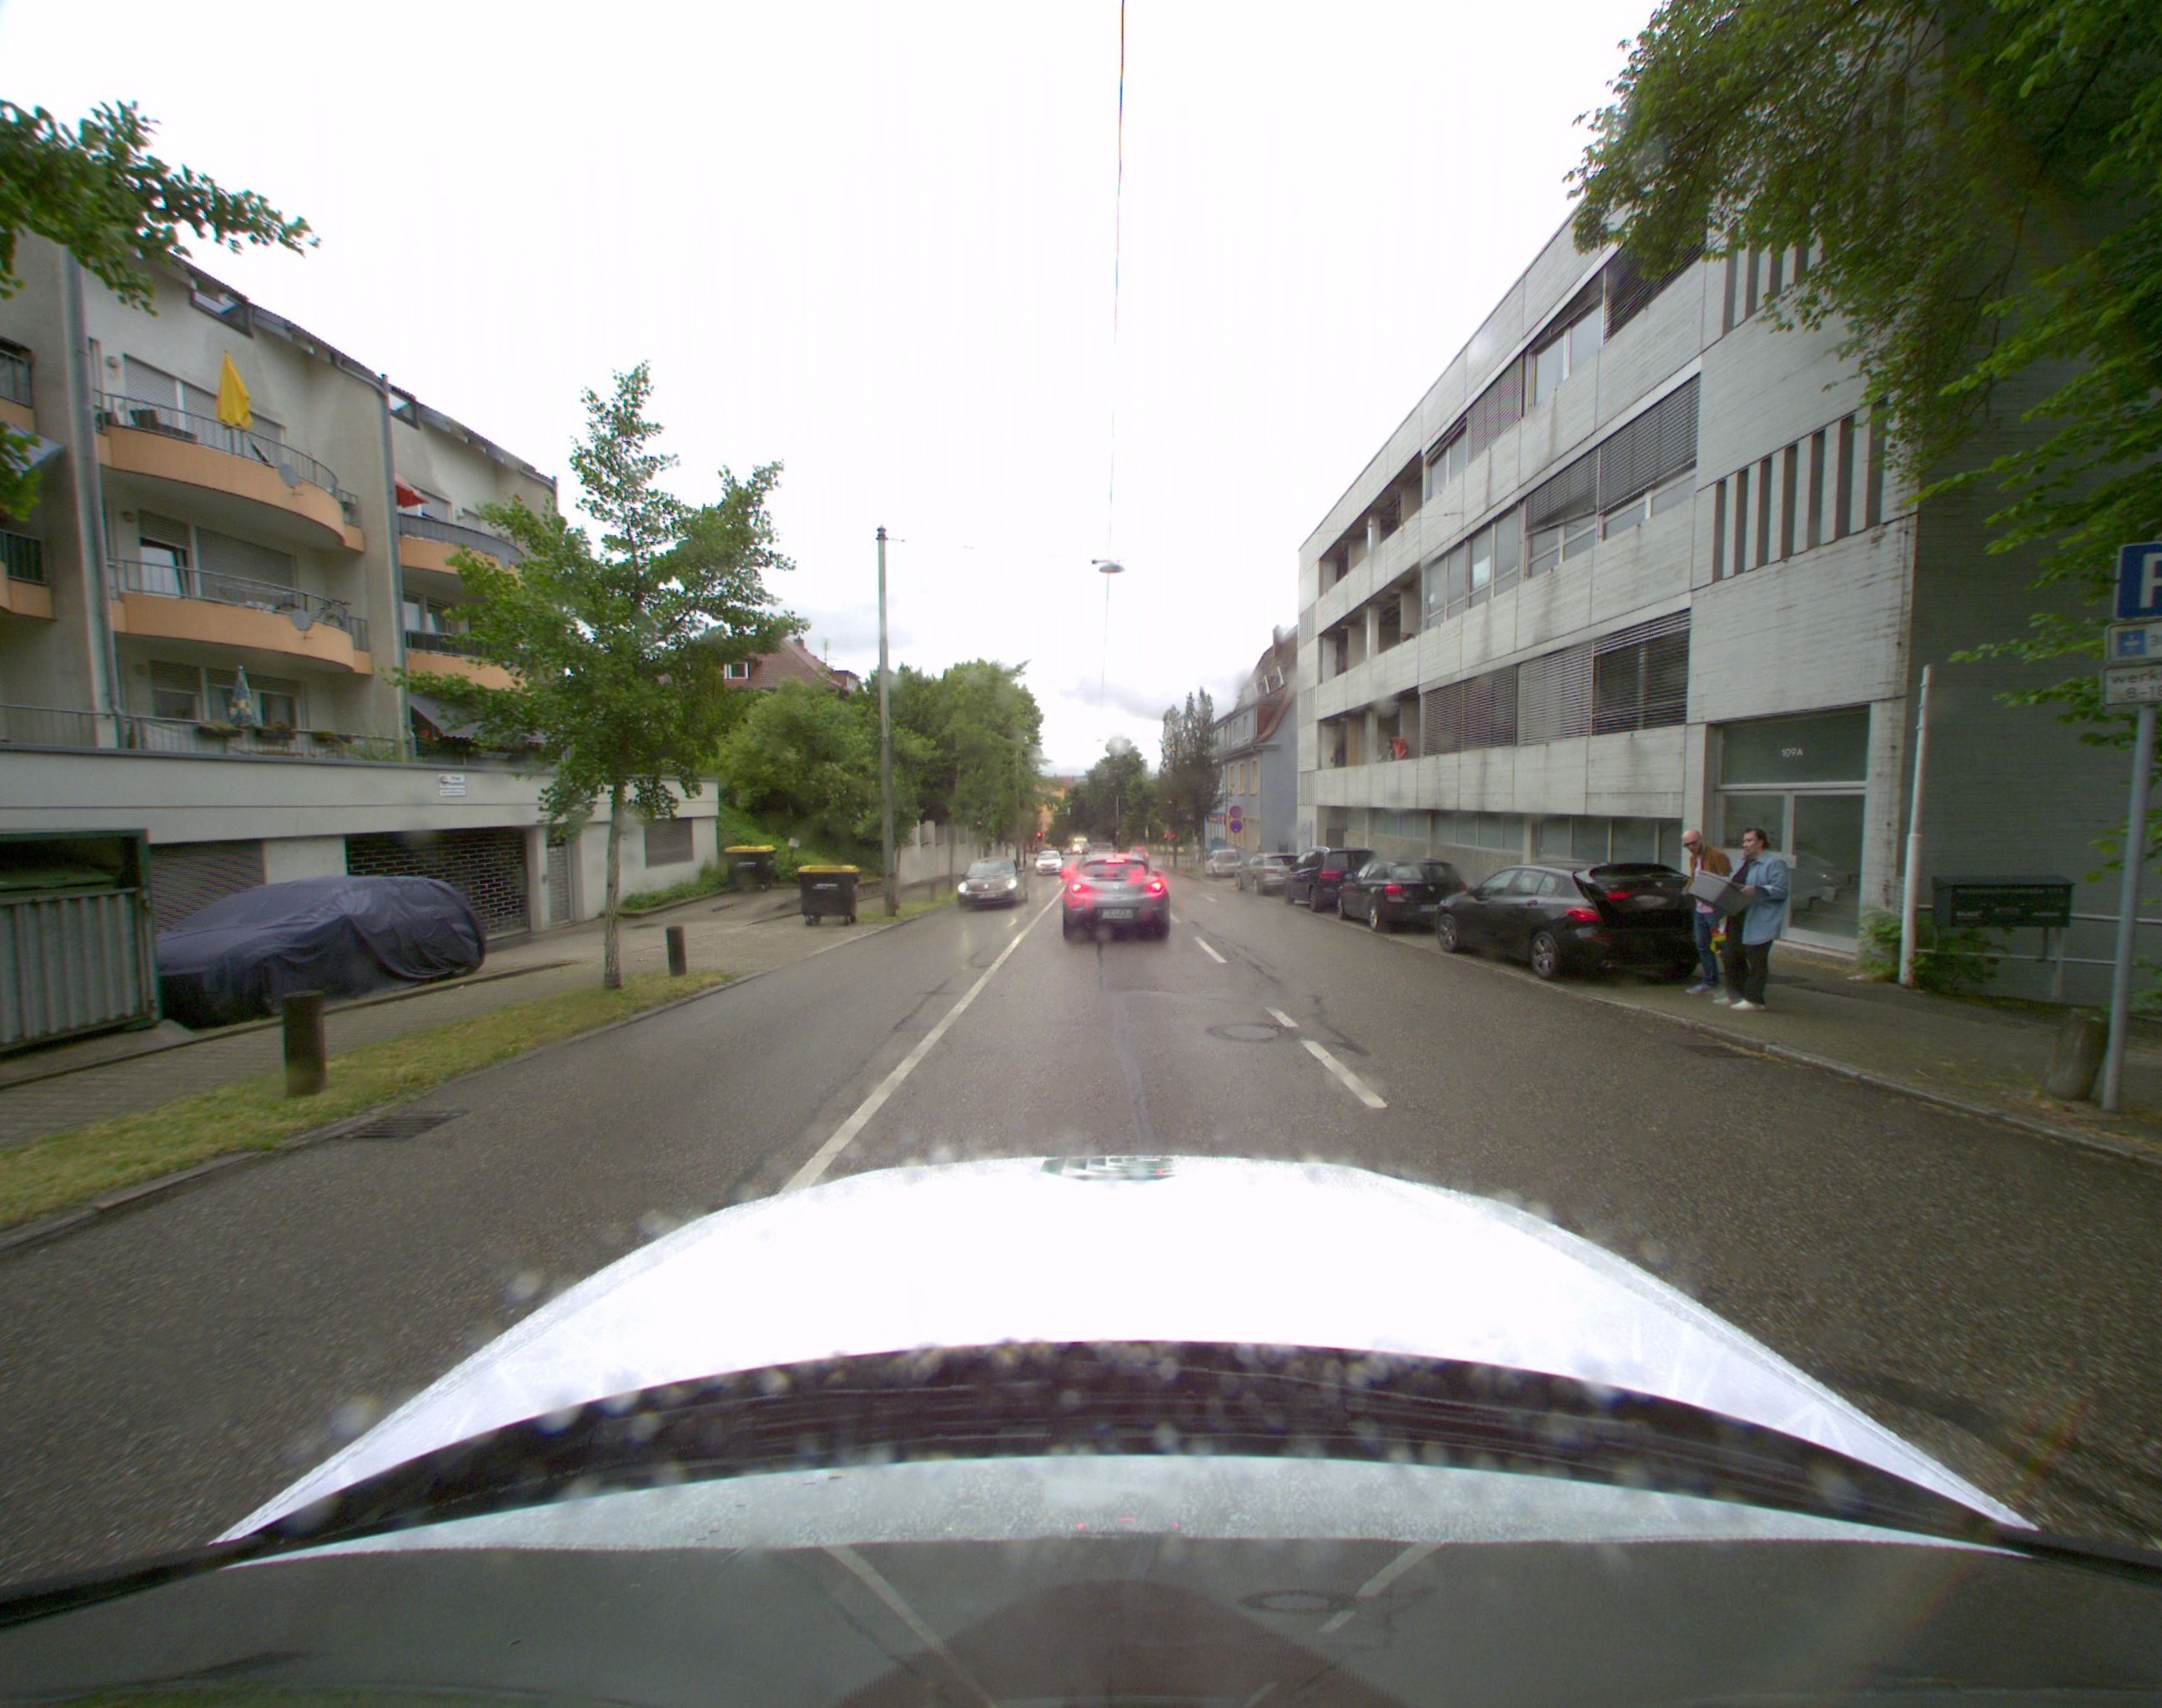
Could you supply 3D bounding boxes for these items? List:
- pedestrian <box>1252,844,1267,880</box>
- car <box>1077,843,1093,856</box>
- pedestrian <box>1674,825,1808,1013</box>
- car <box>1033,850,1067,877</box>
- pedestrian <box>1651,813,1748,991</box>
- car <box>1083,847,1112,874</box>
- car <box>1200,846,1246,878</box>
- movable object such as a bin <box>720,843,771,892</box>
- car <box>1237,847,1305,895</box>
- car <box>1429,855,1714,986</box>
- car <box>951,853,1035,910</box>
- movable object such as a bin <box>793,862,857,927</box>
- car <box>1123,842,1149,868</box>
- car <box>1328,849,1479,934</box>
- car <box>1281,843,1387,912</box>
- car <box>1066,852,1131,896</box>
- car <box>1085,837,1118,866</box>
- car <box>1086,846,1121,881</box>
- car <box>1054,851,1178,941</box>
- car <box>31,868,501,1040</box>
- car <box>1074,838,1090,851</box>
[{"bbox_3d":[9.066,0.411,41.321,0.643,1.784,0.542,0,1,1],"label":"pedestrian"},{"bbox_3d":[0.560,-0.622,108.808,1.986,1.536,4.311,2,1,1],"label":"car"},{"bbox_3d":[6.391,0.601,7.930,0.729,1.723,0.769,-3,1,17],"label":"pedestrian"},{"bbox_3d":[-1.951,0.575,52.246,1.816,1.479,3.865,-4,1,2],"label":"car"},{"bbox_3d":[6.692,0.494,8.844,0.657,1.836,0.693,-3,1,25],"label":"pedestrian"},{"bbox_3d":[1.078,0.394,54.839,1.749,1.651,3.999,2,0,-1],"label":"car"},{"bbox_3d":[7.650,0.380,44.124,1.899,1.570,4.003,-1,1,2],"label":"car"},{"bbox_3d":[-9.714,0.396,23.605,1.268,1.387,0.488,1,1,-2],"label":"movable object such as a bin"},{"bbox_3d":[6.741,0.537,29.255,1.578,1.493,4.292,-1,1,2],"label":"car"},{"bbox_3d":[6.427,0.753,11.243,1.499,1.435,3.999,-1,0,0],"label":"car"},{"bbox_3d":[-2.553,0.758,24.574,1.843,1.469,4.089,-4,0,2],"label":"car"},{"bbox_3d":[-5.661,0.884,18.048,1.268,1.387,0.488,1,1,-2],"label":"movable object such as a bin"},{"bbox_3d":[4.756,0.050,71.190,1.986,2.036,4.737,2,1,1],"label":"car"},{"bbox_3d":[6.529,0.675,16.978,1.675,1.464,4.003,-1,1,2],"label":"car"},{"bbox_3d":[6.606,0.545,21.690,1.679,1.570,4.003,-1,1,2],"label":"car"},{"bbox_3d":[0.513,0.629,27.059,1.794,1.323,3.994,0,0,-4],"label":"car"},{"bbox_3d":[1.566,-0.223,62.537,2.325,2.036,4.737,2,1,1],"label":"car"},{"bbox_3d":[1.255,0.496,46.236,1.763,1.781,3.975,2,1,-1],"label":"car"},{"bbox_3d":[0.514,0.671,15.175,1.941,1.432,3.880,0,0,-3],"label":"car"},{"bbox_3d":[-9.332,1.003,9.893,1.737,1.456,3.882,-4,0,-1],"label":"car"},{"bbox_3d":[0.182,-1.350,115.604,1.986,1.784,4.002,2,1,2],"label":"car"}]
